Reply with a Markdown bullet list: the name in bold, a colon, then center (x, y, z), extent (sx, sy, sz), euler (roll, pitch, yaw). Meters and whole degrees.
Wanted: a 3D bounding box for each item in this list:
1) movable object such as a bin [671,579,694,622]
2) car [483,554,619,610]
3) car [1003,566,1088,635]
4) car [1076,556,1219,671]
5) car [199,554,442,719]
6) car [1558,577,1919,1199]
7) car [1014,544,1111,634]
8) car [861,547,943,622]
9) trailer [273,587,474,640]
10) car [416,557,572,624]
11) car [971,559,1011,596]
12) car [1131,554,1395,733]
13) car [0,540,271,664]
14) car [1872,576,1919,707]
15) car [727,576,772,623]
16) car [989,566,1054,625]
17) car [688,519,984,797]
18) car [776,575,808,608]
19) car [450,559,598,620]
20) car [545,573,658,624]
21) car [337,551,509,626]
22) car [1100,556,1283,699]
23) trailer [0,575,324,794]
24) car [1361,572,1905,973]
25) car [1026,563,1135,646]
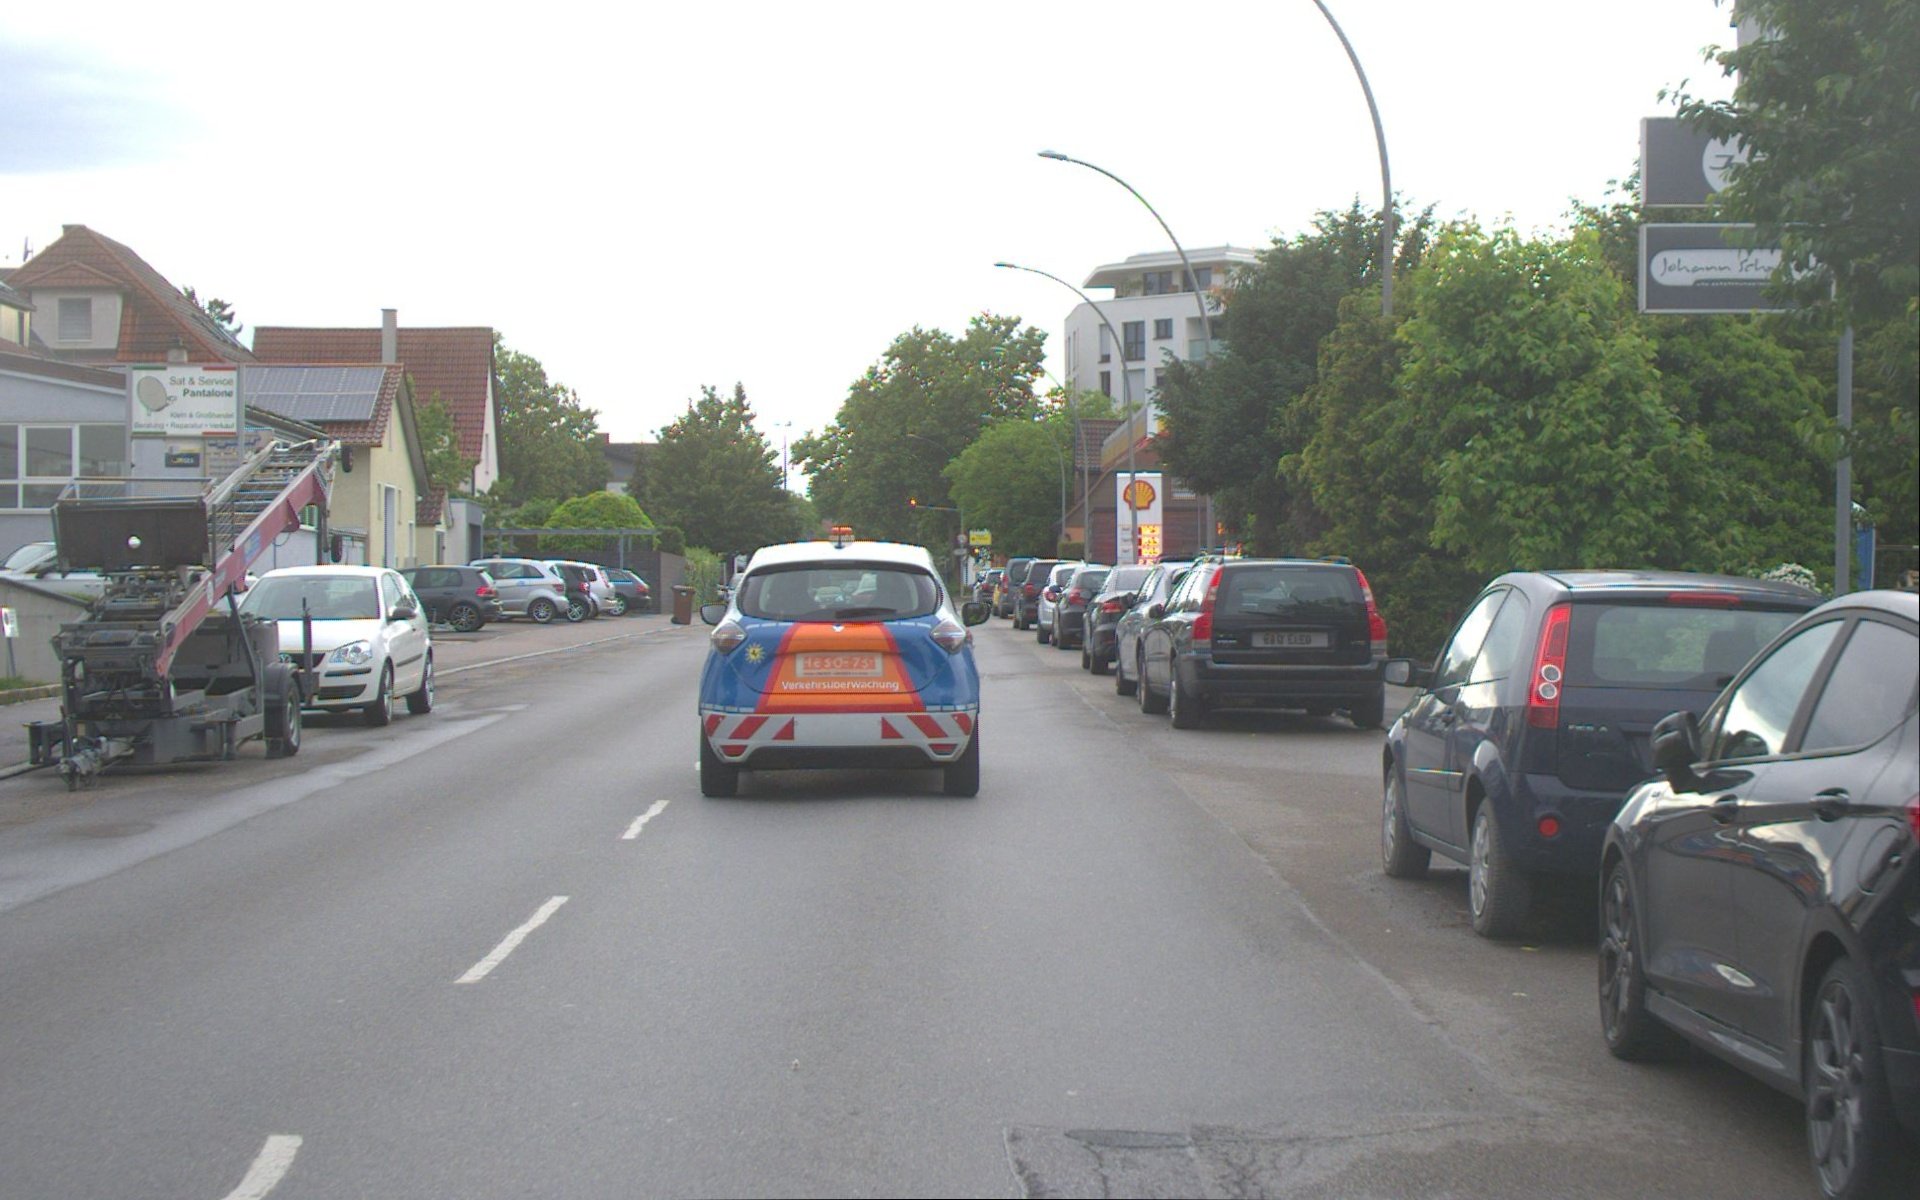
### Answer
- **movable object such as a bin**: center (-7.814, 0.015, 96.787), extent (0.579, 1.200, 0.318), euler (1, 0, 0)
- **car**: center (-11.257, -0.497, 94.752), extent (3.653, 1.478, 1.480), euler (-1, 1, -4)
- **car**: center (1.946, 0.006, 79.274), extent (1.650, 1.516, 4.000), euler (2, 0, -2)
- **car**: center (2.378, 0.158, 44.360), extent (1.605, 1.369, 4.087), euler (2, 0, 0)
- **car**: center (-6.034, 0.321, 32.808), extent (1.557, 1.428, 4.000), euler (2, 0, 0)
- **car**: center (2.756, 0.709, 8.818), extent (1.657, 1.444, 3.830), euler (2, 1, -1)
- **car**: center (1.862, -0.186, 63.306), extent (1.481, 1.550, 3.861), euler (2, 0, -2)
- **car**: center (-1.275, -0.336, 74.127), extent (1.650, 1.516, 4.000), euler (2, 0, -2)
- **trailer**: center (-12.503, 0.280, 73.422), extent (4.022, 0.991, 1.655), euler (2, 0, -2)
- **car**: center (-11.695, -0.240, 86.474), extent (3.759, 1.571, 1.655), euler (2, 0, -4)
- **car**: center (1.442, -1.030, 160.335), extent (1.650, 1.647, 4.000), euler (2, 0, -2)
- **car**: center (2.627, 0.354, 30.762), extent (1.711, 1.433, 4.527), euler (2, 0, -3)
- **car**: center (-11.391, 0.018, 46.583), extent (3.759, 1.562, 1.655), euler (2, 0, -2)
- **car**: center (11.746, 0.456, 36.125), extent (1.537, 1.394, 3.953), euler (-1, 1, -44)
- **car**: center (-6.836, -0.035, 111.856), extent (1.386, 1.478, 3.784), euler (0, 0, -2)
- **car**: center (1.783, -0.144, 101.047), extent (1.650, 1.666, 4.000), euler (2, 0, -2)
- **car**: center (-0.768, 0.336, 22.035), extent (1.731, 1.625, 3.495), euler (0, 0, -1)
- **car**: center (-6.346, -0.330, 130.058), extent (1.151, 1.228, 3.373), euler (0, 1, -2)
- **car**: center (-11.502, -0.281, 90.837), extent (3.759, 1.478, 1.655), euler (2, 0, -4)
- **car**: center (-10.703, -0.048, 102.751), extent (3.281, 1.443, 1.480), euler (-1, 1, -4)
- **car**: center (-11.829, -0.253, 75.889), extent (3.580, 1.521, 1.655), euler (2, 0, -4)
- **car**: center (2.400, 0.249, 36.388), extent (1.539, 1.424, 3.751), euler (0, 1, -2)
- **trailer**: center (-6.021, 0.551, 25.746), extent (1.717, 1.256, 5.245), euler (2, 2, -2)
- **car**: center (2.726, 0.627, 14.686), extent (1.487, 1.434, 3.807), euler (2, 1, -1)
- **car**: center (1.998, 0.058, 58.012), extent (1.650, 1.331, 4.000), euler (0, 1, -1)
